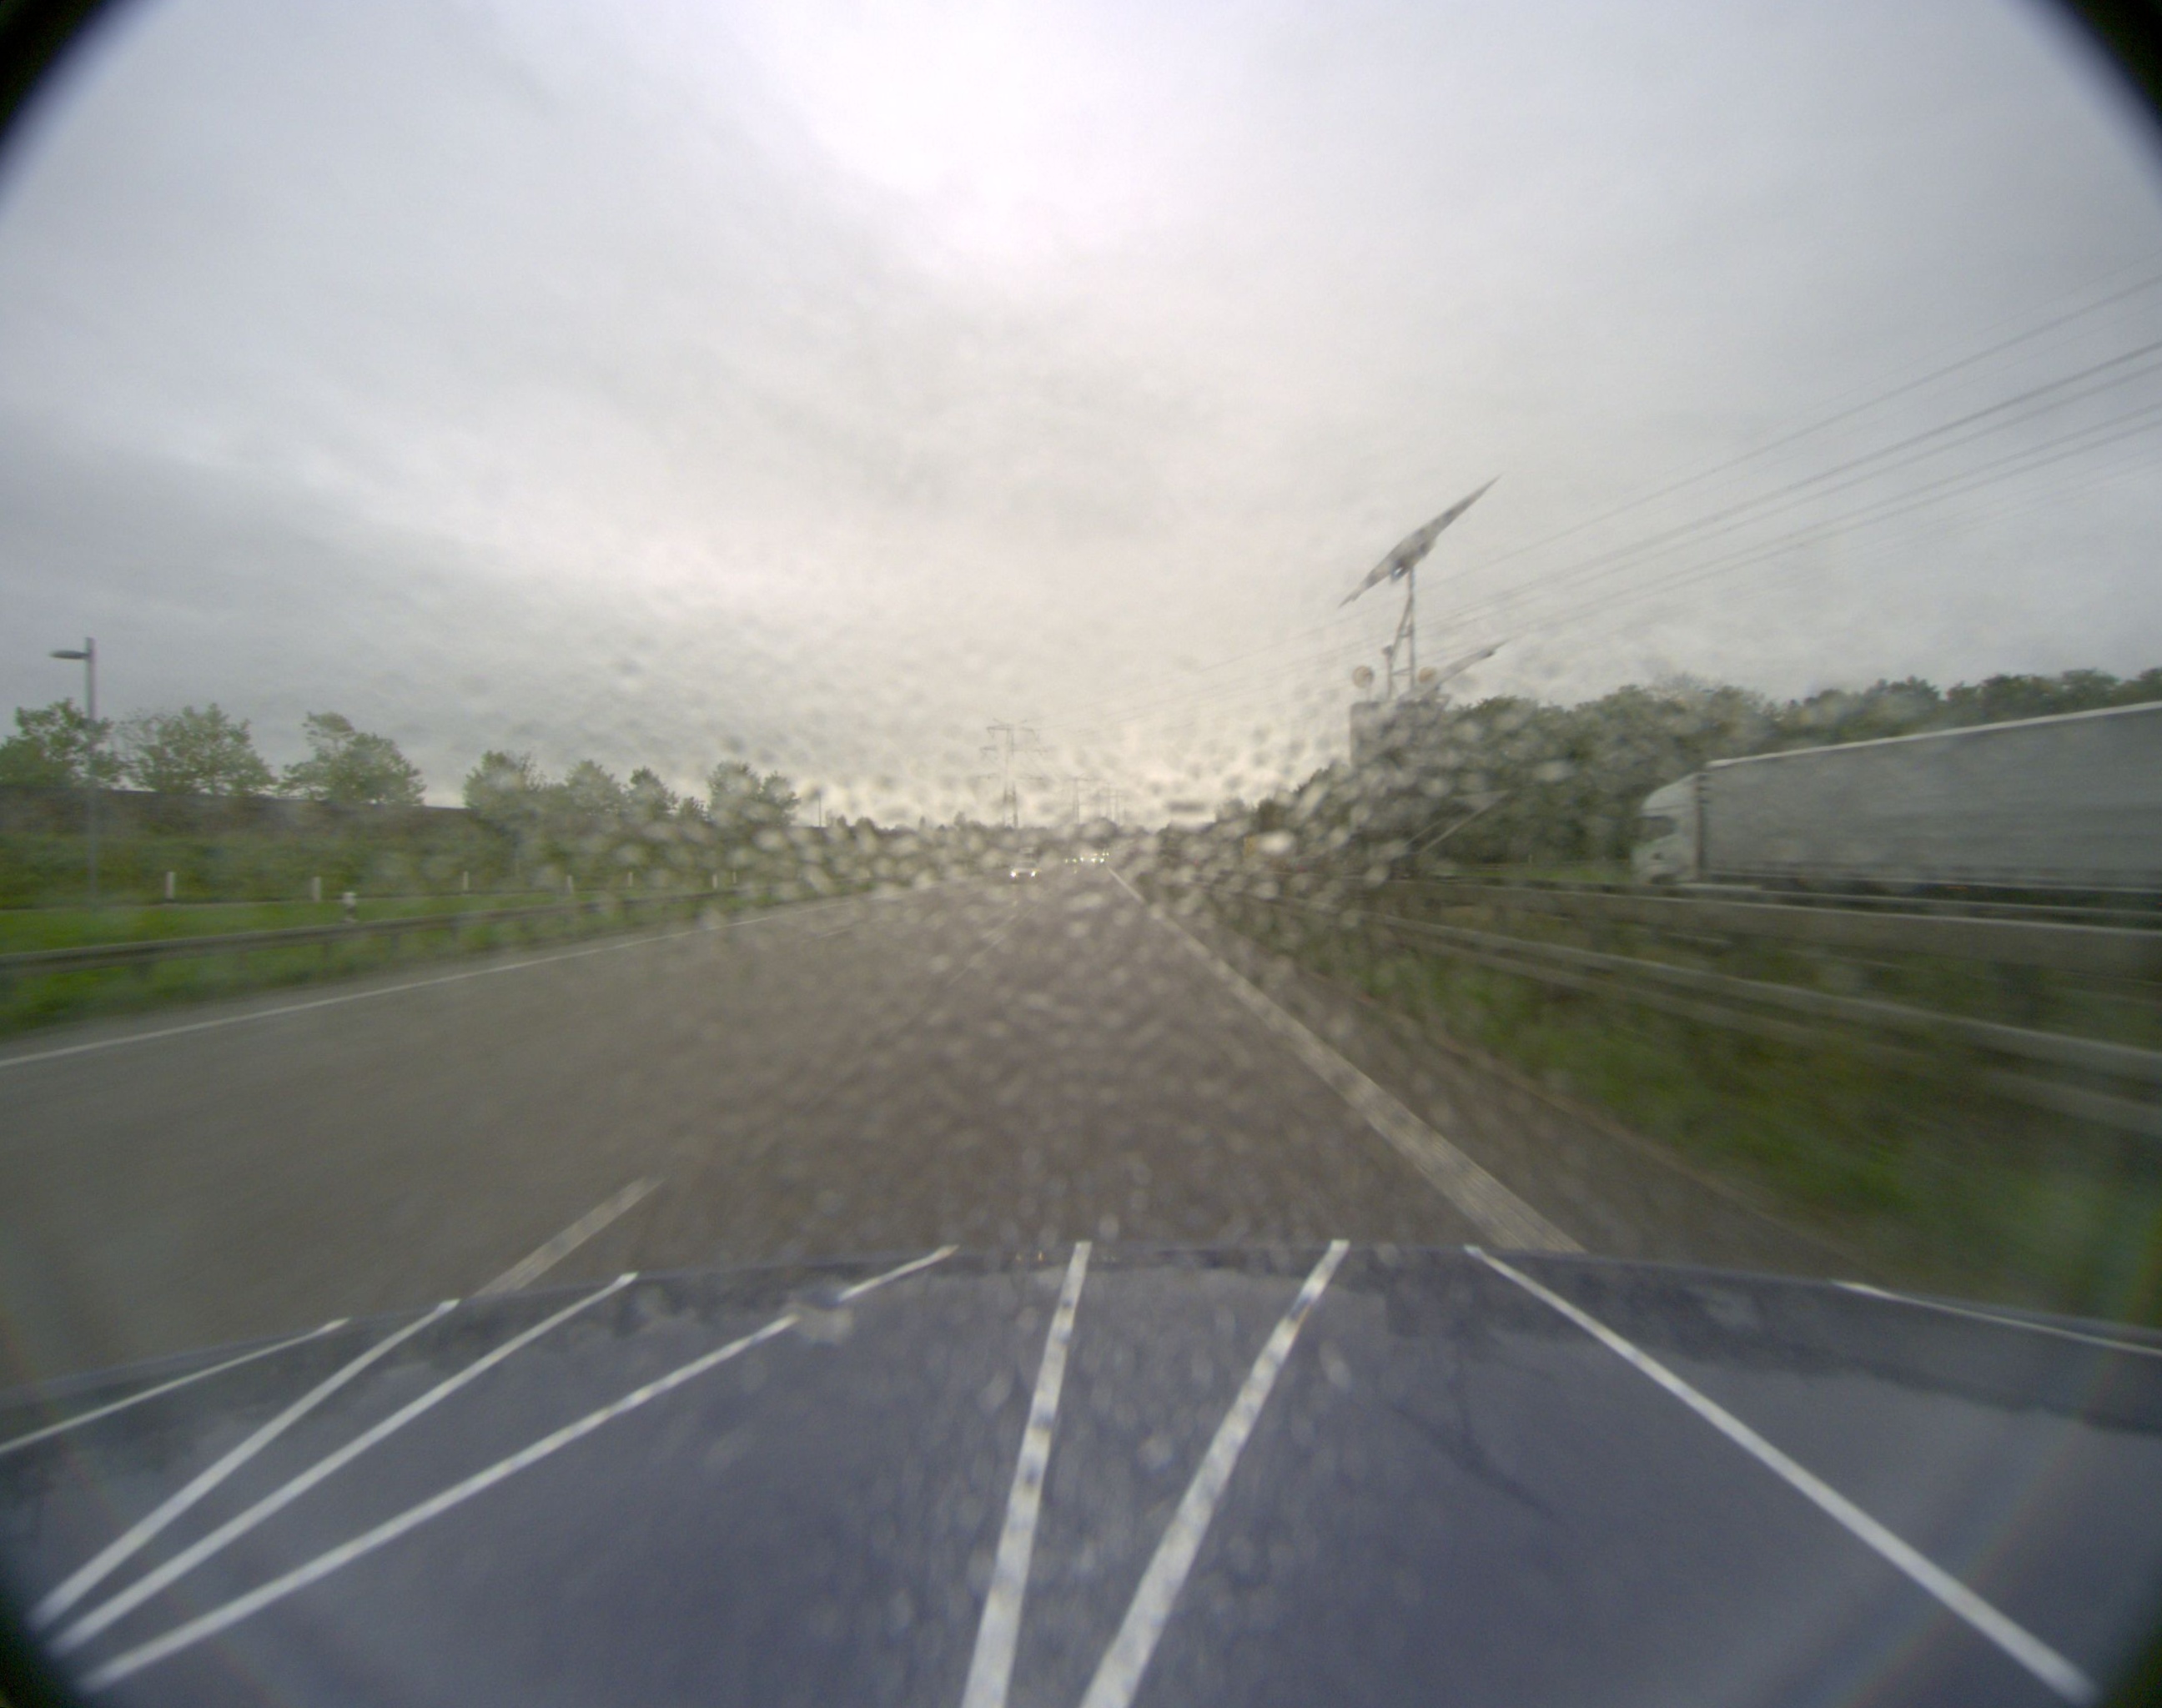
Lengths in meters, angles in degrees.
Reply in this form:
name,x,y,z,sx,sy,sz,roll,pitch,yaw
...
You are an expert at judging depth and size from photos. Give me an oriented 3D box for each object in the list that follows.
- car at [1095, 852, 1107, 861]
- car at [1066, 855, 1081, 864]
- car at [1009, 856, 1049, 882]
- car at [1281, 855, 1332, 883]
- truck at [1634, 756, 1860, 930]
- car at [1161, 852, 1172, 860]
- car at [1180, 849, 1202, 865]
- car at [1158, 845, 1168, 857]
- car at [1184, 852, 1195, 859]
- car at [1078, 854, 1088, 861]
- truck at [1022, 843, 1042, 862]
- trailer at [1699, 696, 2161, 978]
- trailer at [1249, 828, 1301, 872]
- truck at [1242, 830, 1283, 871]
name,x,y,z,sx,sy,sz,roll,pitch,yaw
car,3.518,0.495,133.584,1.998,1.419,4.000,-2,1,4
car,-1.176,0.891,122.902,1.998,1.419,4.000,-2,1,4
car,-3.294,0.943,49.168,1.998,1.419,4.000,-2,1,4
car,13.767,0.884,46.586,1.829,1.628,4.472,0,0,1
truck,17.674,-0.258,20.504,2.650,4.212,4.000,0,0,1
car,18.188,0.434,161.114,1.879,1.484,4.514,1,0,1
car,11.127,0.306,76.990,1.668,1.533,4.000,0,0,1
car,23.779,-0.853,219.964,2.259,3.308,6.175,0,0,2
car,24.464,0.237,171.670,1.973,1.534,3.999,0,0,0
car,0.468,0.777,162.888,1.856,1.419,4.000,-2,1,4
truck,-8.731,-0.323,136.112,2.648,3.325,6.931,-2,1,4
trailer,17.549,-0.262,13.140,2.650,4.212,13.911,0,0,1
trailer,18.756,-0.370,74.103,2.769,4.031,9.200,1,0,1
truck,18.792,-0.385,78.906,2.769,4.032,6.157,1,0,1
